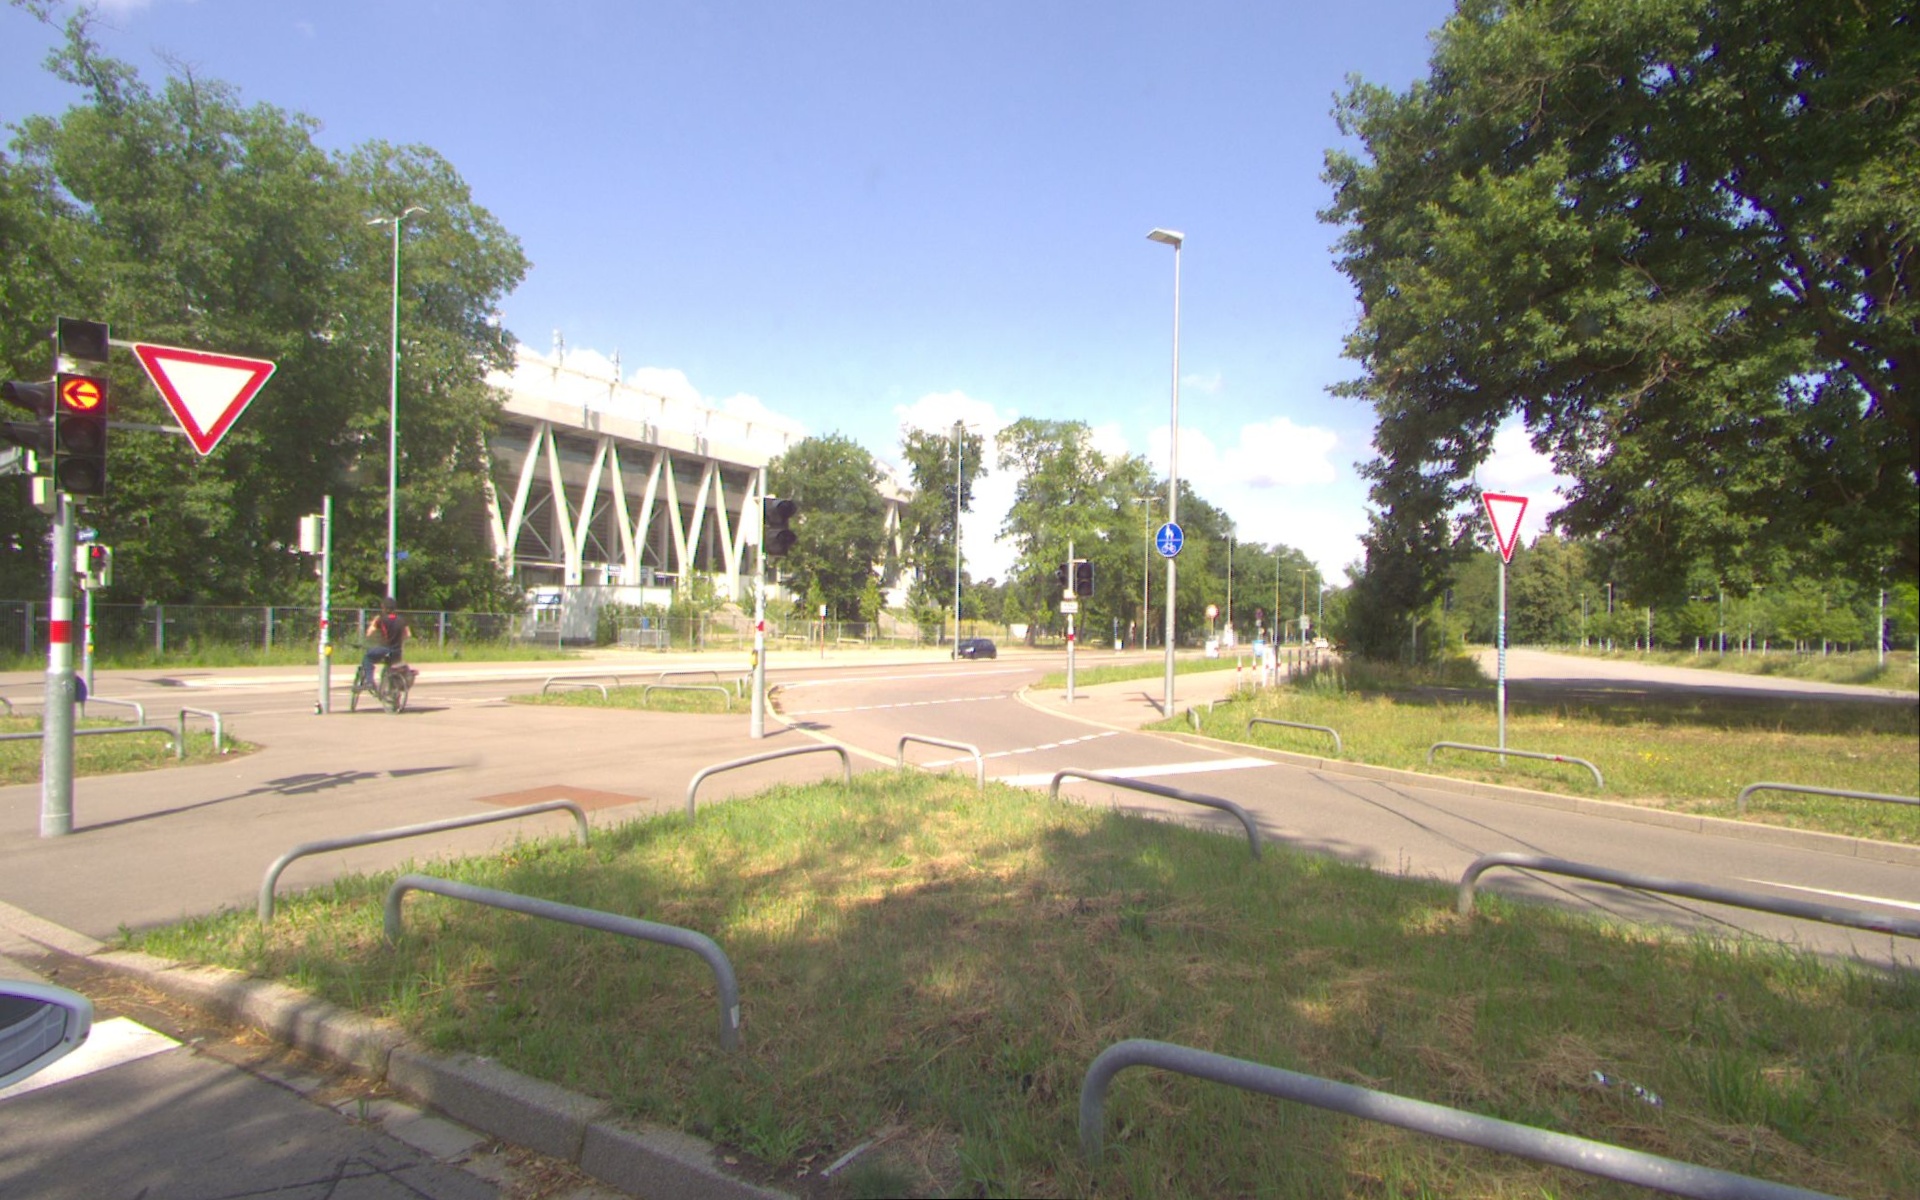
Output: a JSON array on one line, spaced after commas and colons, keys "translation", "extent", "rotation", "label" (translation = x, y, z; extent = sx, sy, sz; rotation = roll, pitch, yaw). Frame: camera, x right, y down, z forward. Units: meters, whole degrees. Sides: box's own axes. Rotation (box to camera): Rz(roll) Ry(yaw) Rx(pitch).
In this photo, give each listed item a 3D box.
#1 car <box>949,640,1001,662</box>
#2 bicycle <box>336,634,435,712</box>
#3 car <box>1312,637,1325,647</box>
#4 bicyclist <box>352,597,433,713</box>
[{"translation": [1.030, 3.309, 65.497], "extent": [1.580, 1.395, 3.956], "rotation": [-1, -2, 32], "label": "car"}, {"translation": [-9.534, 1.171, 16.595], "extent": [1.876, 1.221, 0.876], "rotation": [-2, -2, 42], "label": "bicycle"}, {"translation": [55.971, 6.507, 156.342], "extent": [1.334, 1.544, 3.460], "rotation": [-1, -2, 31], "label": "car"}, {"translation": [-9.314, 0.886, 16.440], "extent": [0.967, 1.820, 0.881], "rotation": [-1, -2, 40], "label": "bicyclist"}]
